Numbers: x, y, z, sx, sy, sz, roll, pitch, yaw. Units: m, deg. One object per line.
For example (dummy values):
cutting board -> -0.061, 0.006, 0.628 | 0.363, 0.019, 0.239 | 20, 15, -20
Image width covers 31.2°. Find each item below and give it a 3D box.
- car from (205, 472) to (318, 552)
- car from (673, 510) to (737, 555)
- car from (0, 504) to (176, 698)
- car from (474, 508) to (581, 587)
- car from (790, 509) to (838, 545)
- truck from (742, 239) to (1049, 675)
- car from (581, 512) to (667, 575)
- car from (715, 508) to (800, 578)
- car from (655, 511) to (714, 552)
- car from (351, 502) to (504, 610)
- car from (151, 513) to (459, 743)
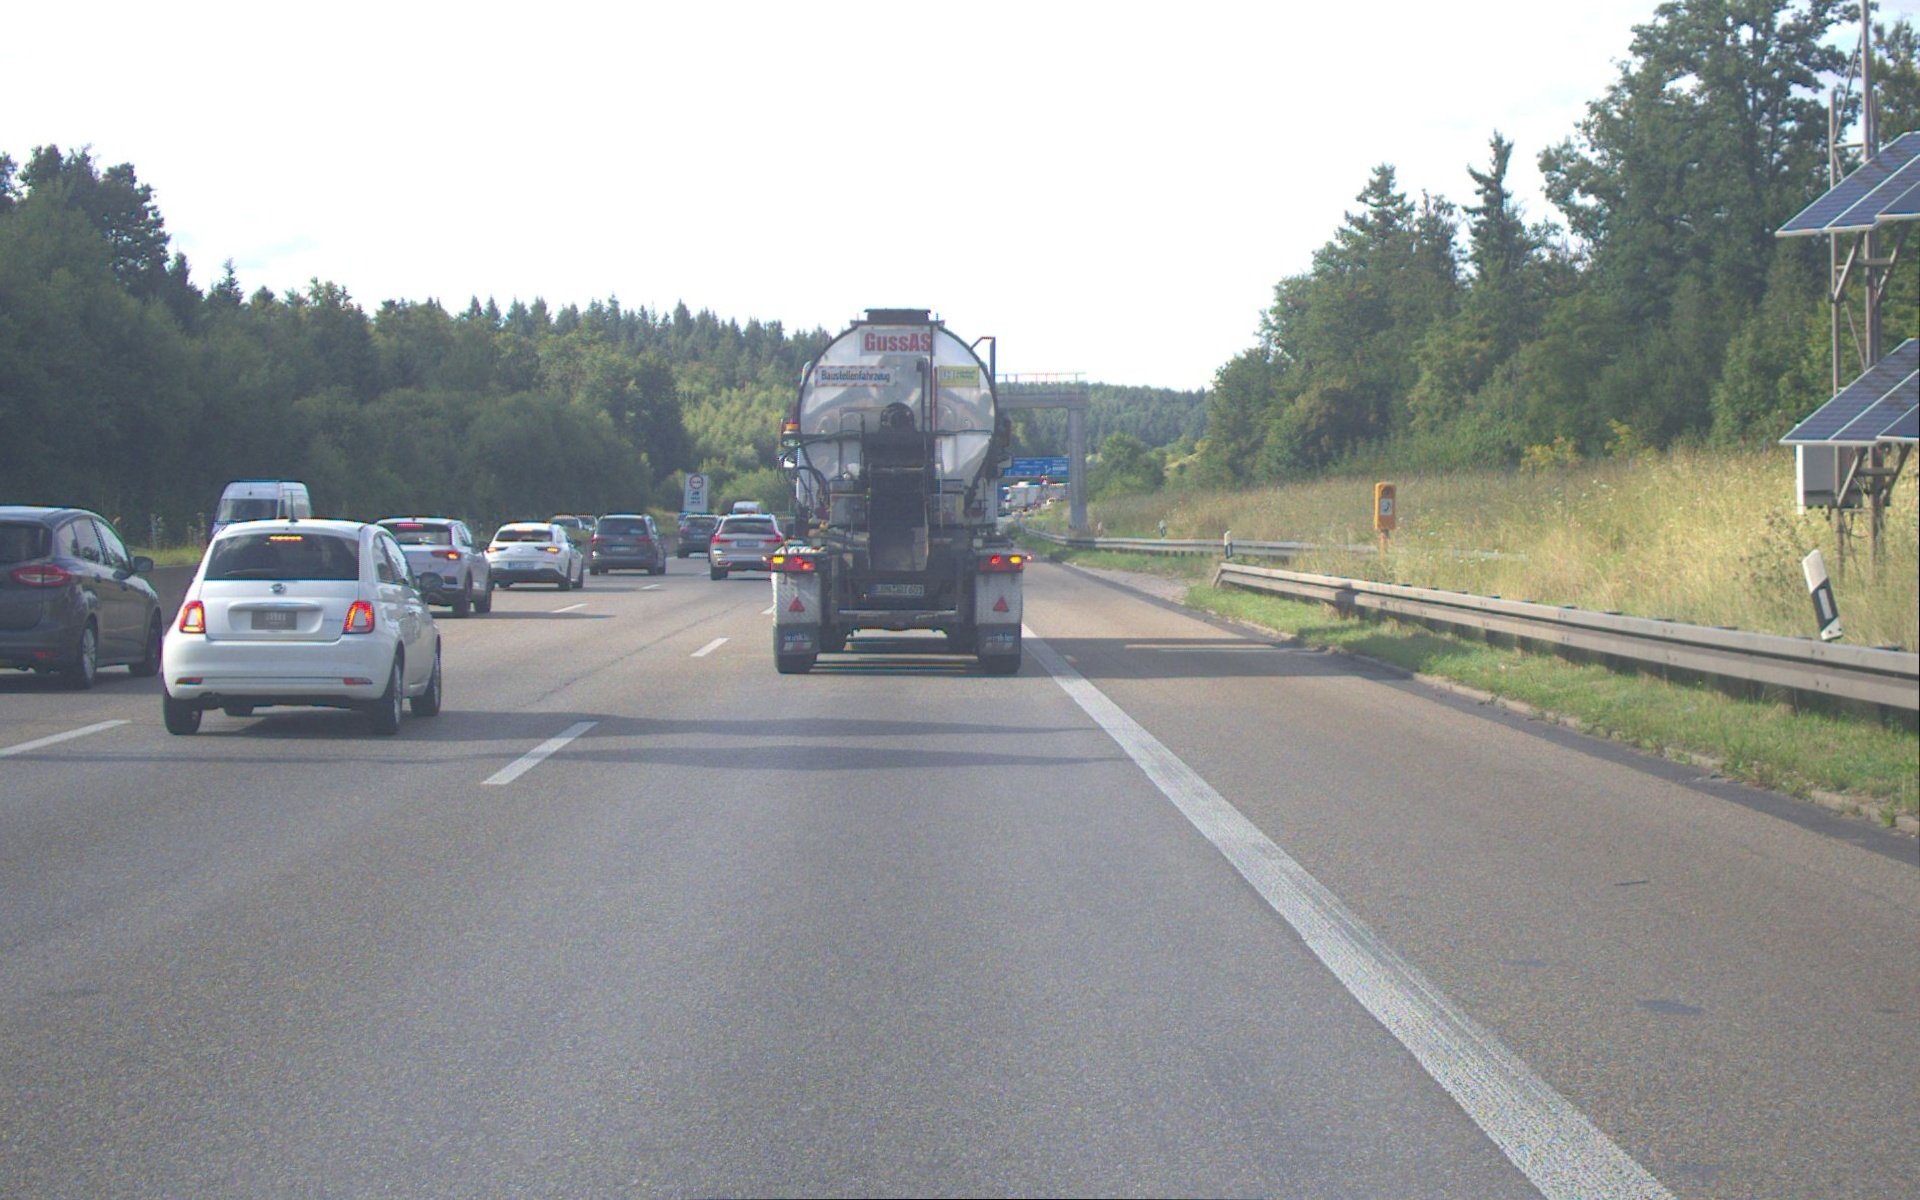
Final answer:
car -> -20.918, -2.646, 103.238 | 2.109, 2.304, 6.725 | 0, 1, -1
car -> -8.763, -2.346, 118.508 | 1.942, 1.451, 4.207 | 1, 2, -1
car -> -8.449, -0.049, 31.130 | 1.806, 1.580, 4.207 | 1, 2, -1
car -> -9.185, -1.137, 73.313 | 1.806, 1.580, 4.207 | 1, 2, -1
car -> -6.193, -3.124, 146.126 | 1.942, 1.451, 4.207 | 1, 2, -1
truck -> -0.646, -1.507, 38.397 | 2.912, 4.143, 11.270 | 0, 1, 0
car -> -9.005, -1.529, 92.430 | 1.942, 1.580, 4.207 | 1, 2, -1
car -> -5.065, -1.454, 86.283 | 1.942, 1.649, 4.207 | 1, 2, -1
car -> -10.503, -2.629, 131.233 | 1.942, 1.451, 4.207 | 1, 2, -1
car -> -8.319, -0.728, 53.983 | 1.806, 1.580, 4.207 | 1, 2, -1
car -> -4.693, 0.152, 25.061 | 1.618, 1.539, 3.520 | 1, 1, -1
